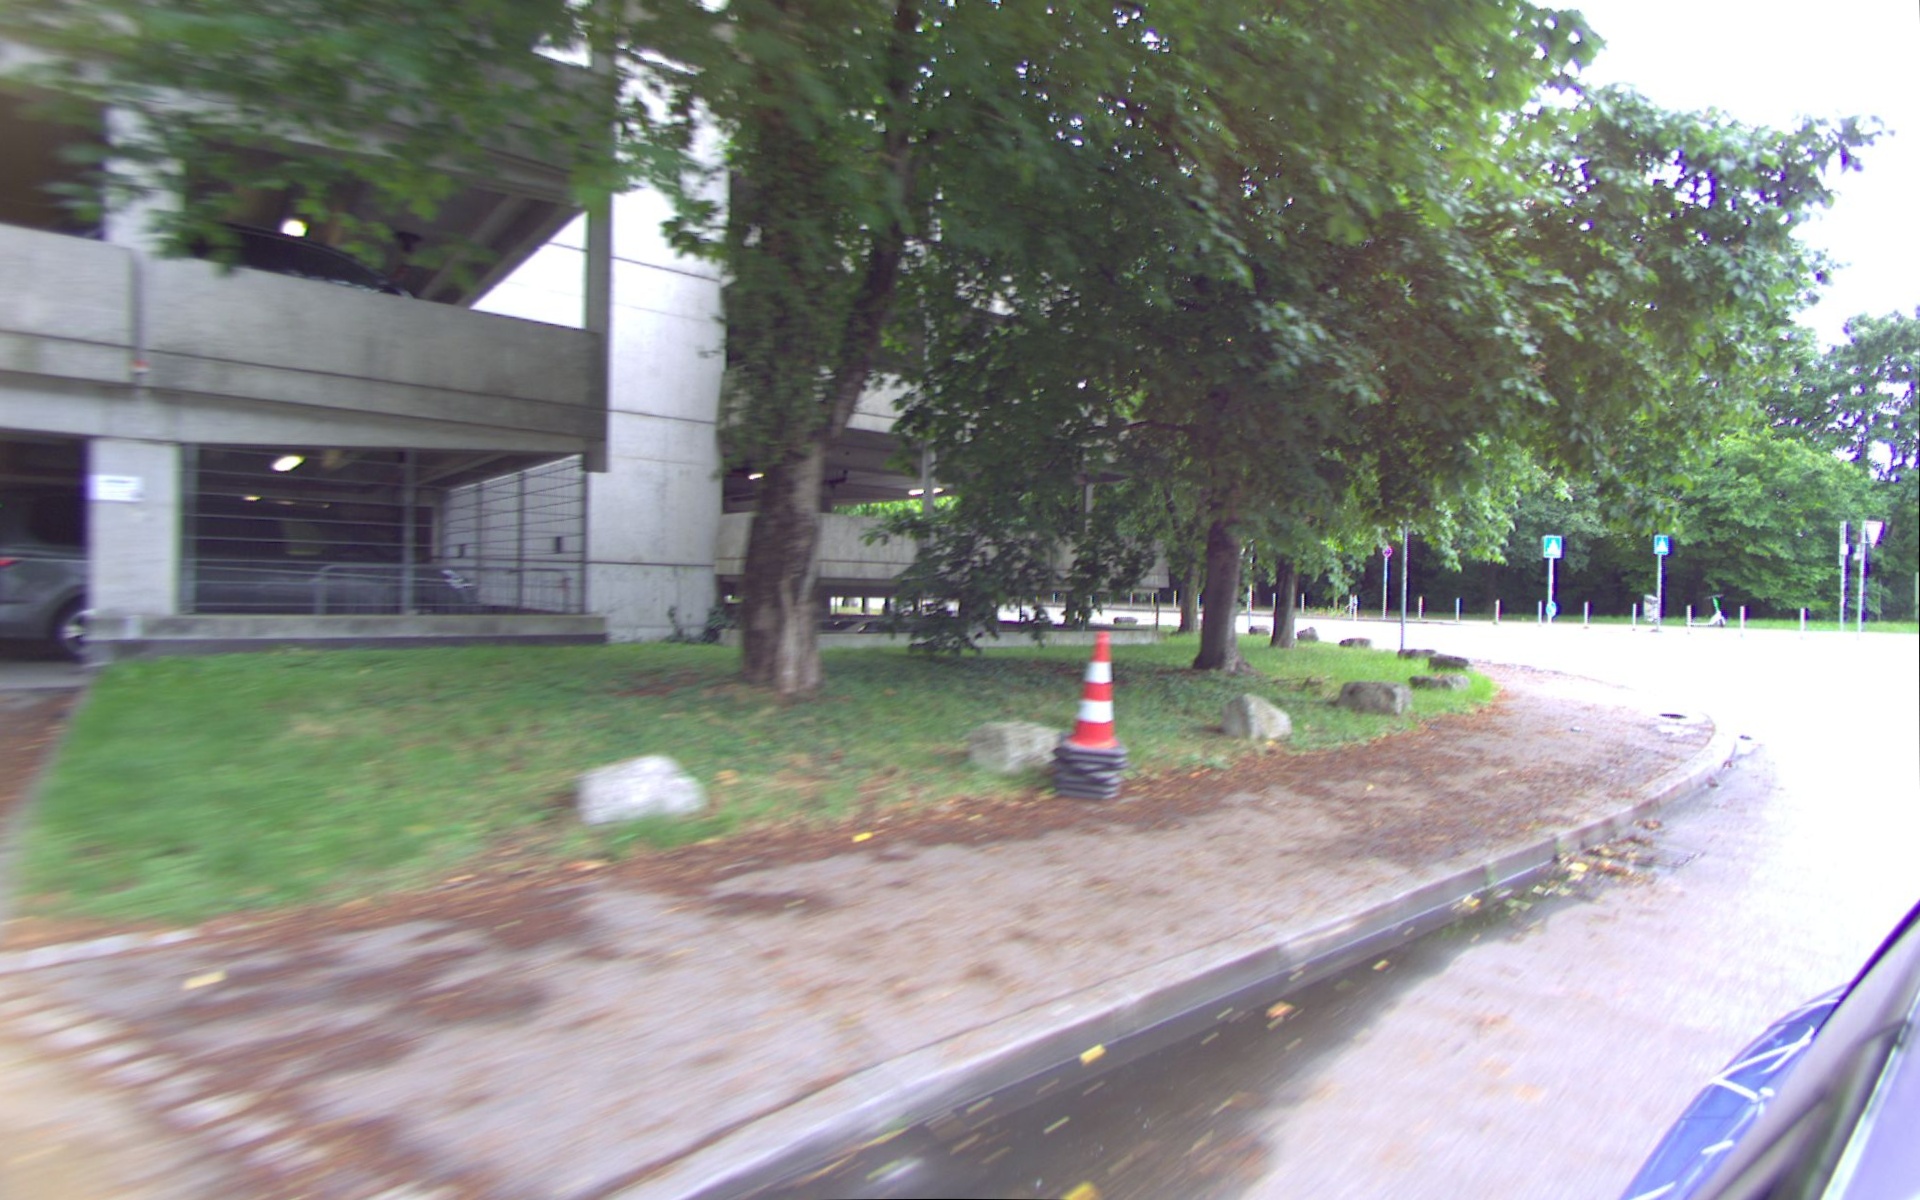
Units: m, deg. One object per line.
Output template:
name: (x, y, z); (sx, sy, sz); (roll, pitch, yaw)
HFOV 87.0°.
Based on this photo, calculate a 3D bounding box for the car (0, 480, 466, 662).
car: (-8.801, -0.299, 12.379); (4.651, 1.858, 1.923); (0, 0, -40)

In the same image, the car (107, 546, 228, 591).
car: (-26.571, -1.029, 33.975); (3.149, 1.446, 1.511); (-1, 1, -41)

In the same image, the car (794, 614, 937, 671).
car: (-2.822, 1.237, 30.553); (3.925, 1.471, 1.877); (-1, 1, -36)
